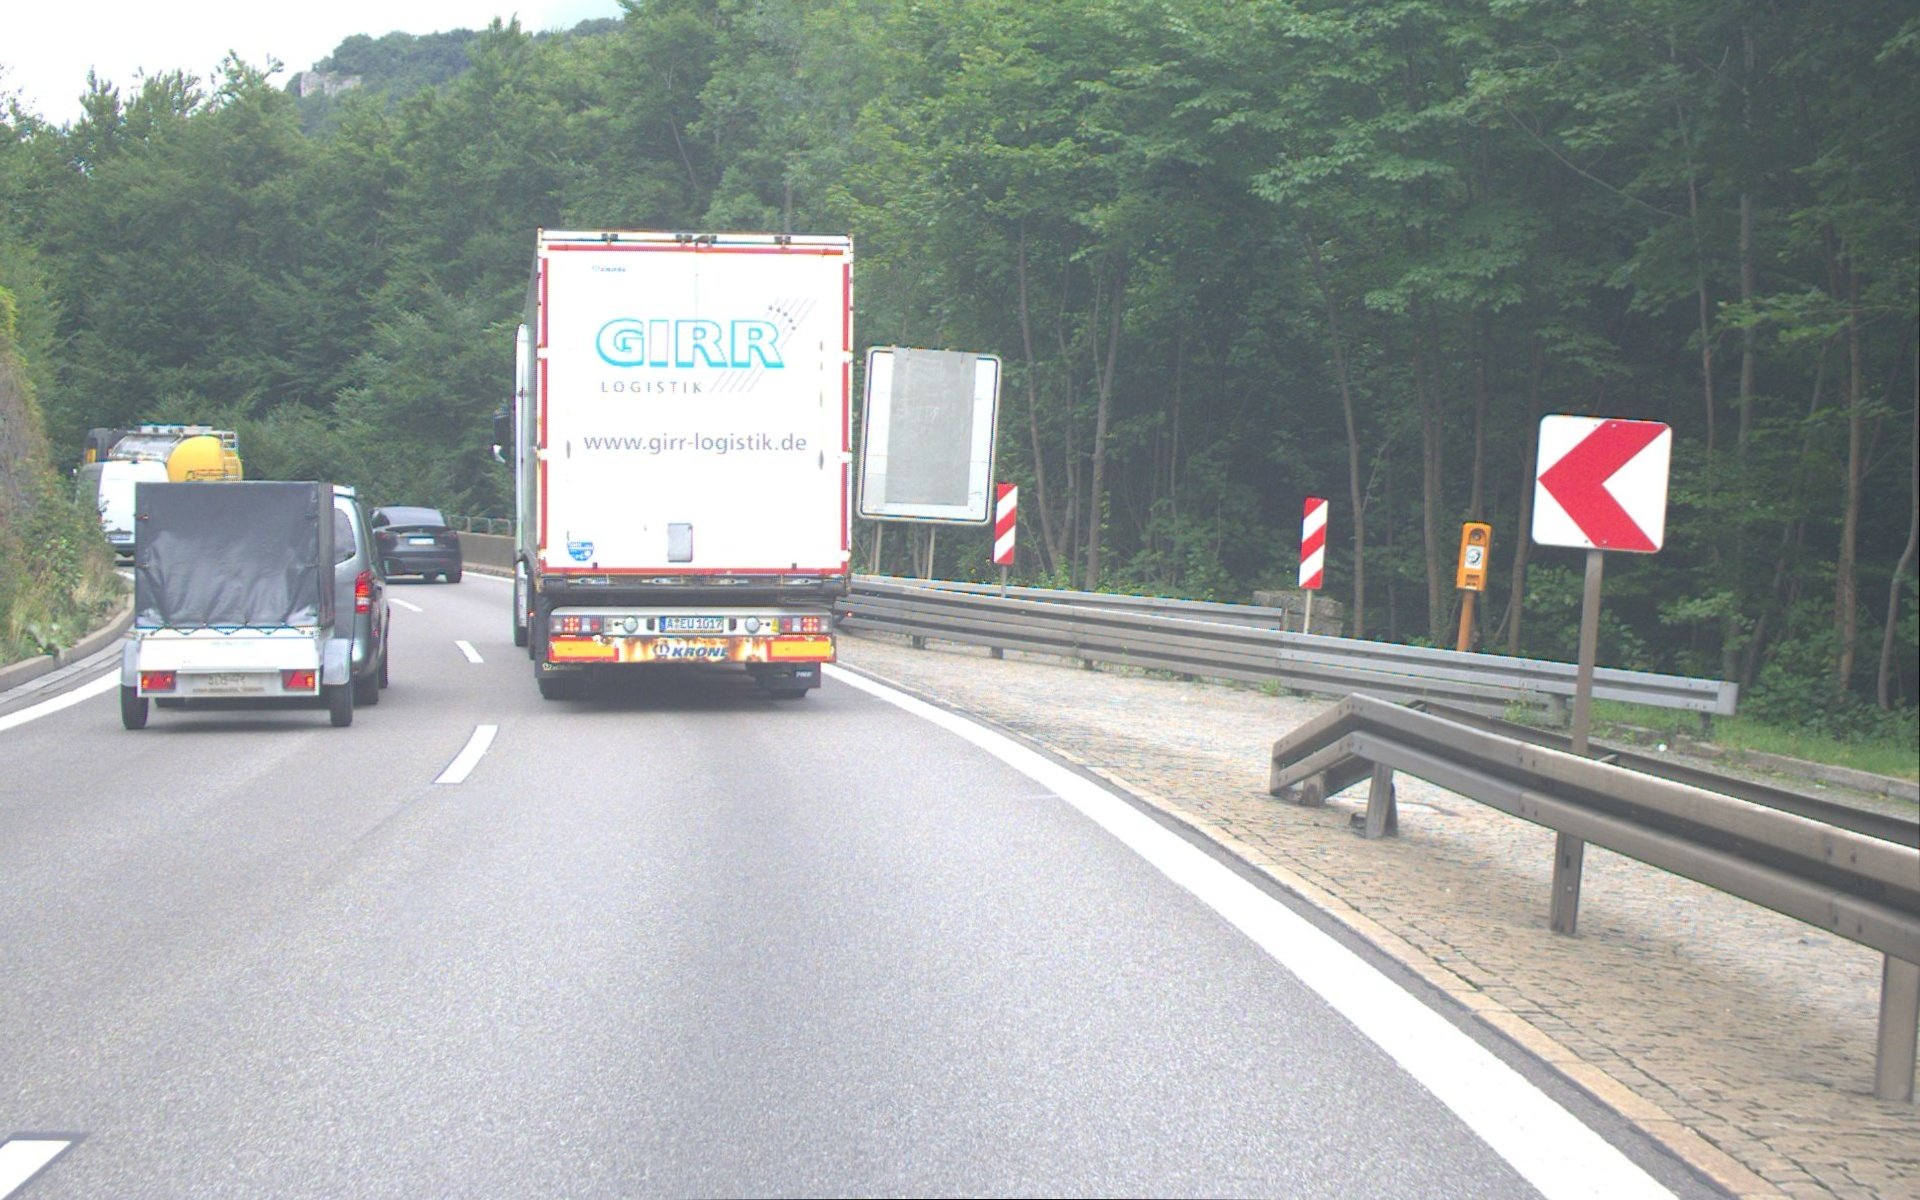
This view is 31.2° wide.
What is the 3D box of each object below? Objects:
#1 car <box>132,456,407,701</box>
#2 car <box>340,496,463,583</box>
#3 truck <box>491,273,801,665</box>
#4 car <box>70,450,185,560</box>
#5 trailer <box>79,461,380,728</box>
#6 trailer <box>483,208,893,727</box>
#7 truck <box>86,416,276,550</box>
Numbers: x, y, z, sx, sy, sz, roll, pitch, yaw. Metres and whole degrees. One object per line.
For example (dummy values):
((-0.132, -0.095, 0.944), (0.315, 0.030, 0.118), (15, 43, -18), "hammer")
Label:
((-6.138, -0.231, 31.132), (1.993, 2.007, 5.542), (0, 1, -7), "car")
((-11.756, -1.294, 72.216), (1.993, 1.656, 4.002), (2, 1, -16), "car")
((-3.755, -1.553, 39.775), (3.057, 3.972, 7.190), (3, 3, -7), "truck")
((-21.799, -2.520, 89.797), (1.988, 2.663, 6.939), (2, 1, -21), "car")
((-5.594, -0.071, 26.689), (1.970, 1.933, 3.431), (0, 1, -7), "trailer")
((-2.917, -1.355, 33.413), (3.057, 3.972, 12.141), (3, 3, -7), "trailer")
((-24.736, -3.686, 108.511), (3.057, 3.972, 13.702), (-1, 2, -25), "truck")
